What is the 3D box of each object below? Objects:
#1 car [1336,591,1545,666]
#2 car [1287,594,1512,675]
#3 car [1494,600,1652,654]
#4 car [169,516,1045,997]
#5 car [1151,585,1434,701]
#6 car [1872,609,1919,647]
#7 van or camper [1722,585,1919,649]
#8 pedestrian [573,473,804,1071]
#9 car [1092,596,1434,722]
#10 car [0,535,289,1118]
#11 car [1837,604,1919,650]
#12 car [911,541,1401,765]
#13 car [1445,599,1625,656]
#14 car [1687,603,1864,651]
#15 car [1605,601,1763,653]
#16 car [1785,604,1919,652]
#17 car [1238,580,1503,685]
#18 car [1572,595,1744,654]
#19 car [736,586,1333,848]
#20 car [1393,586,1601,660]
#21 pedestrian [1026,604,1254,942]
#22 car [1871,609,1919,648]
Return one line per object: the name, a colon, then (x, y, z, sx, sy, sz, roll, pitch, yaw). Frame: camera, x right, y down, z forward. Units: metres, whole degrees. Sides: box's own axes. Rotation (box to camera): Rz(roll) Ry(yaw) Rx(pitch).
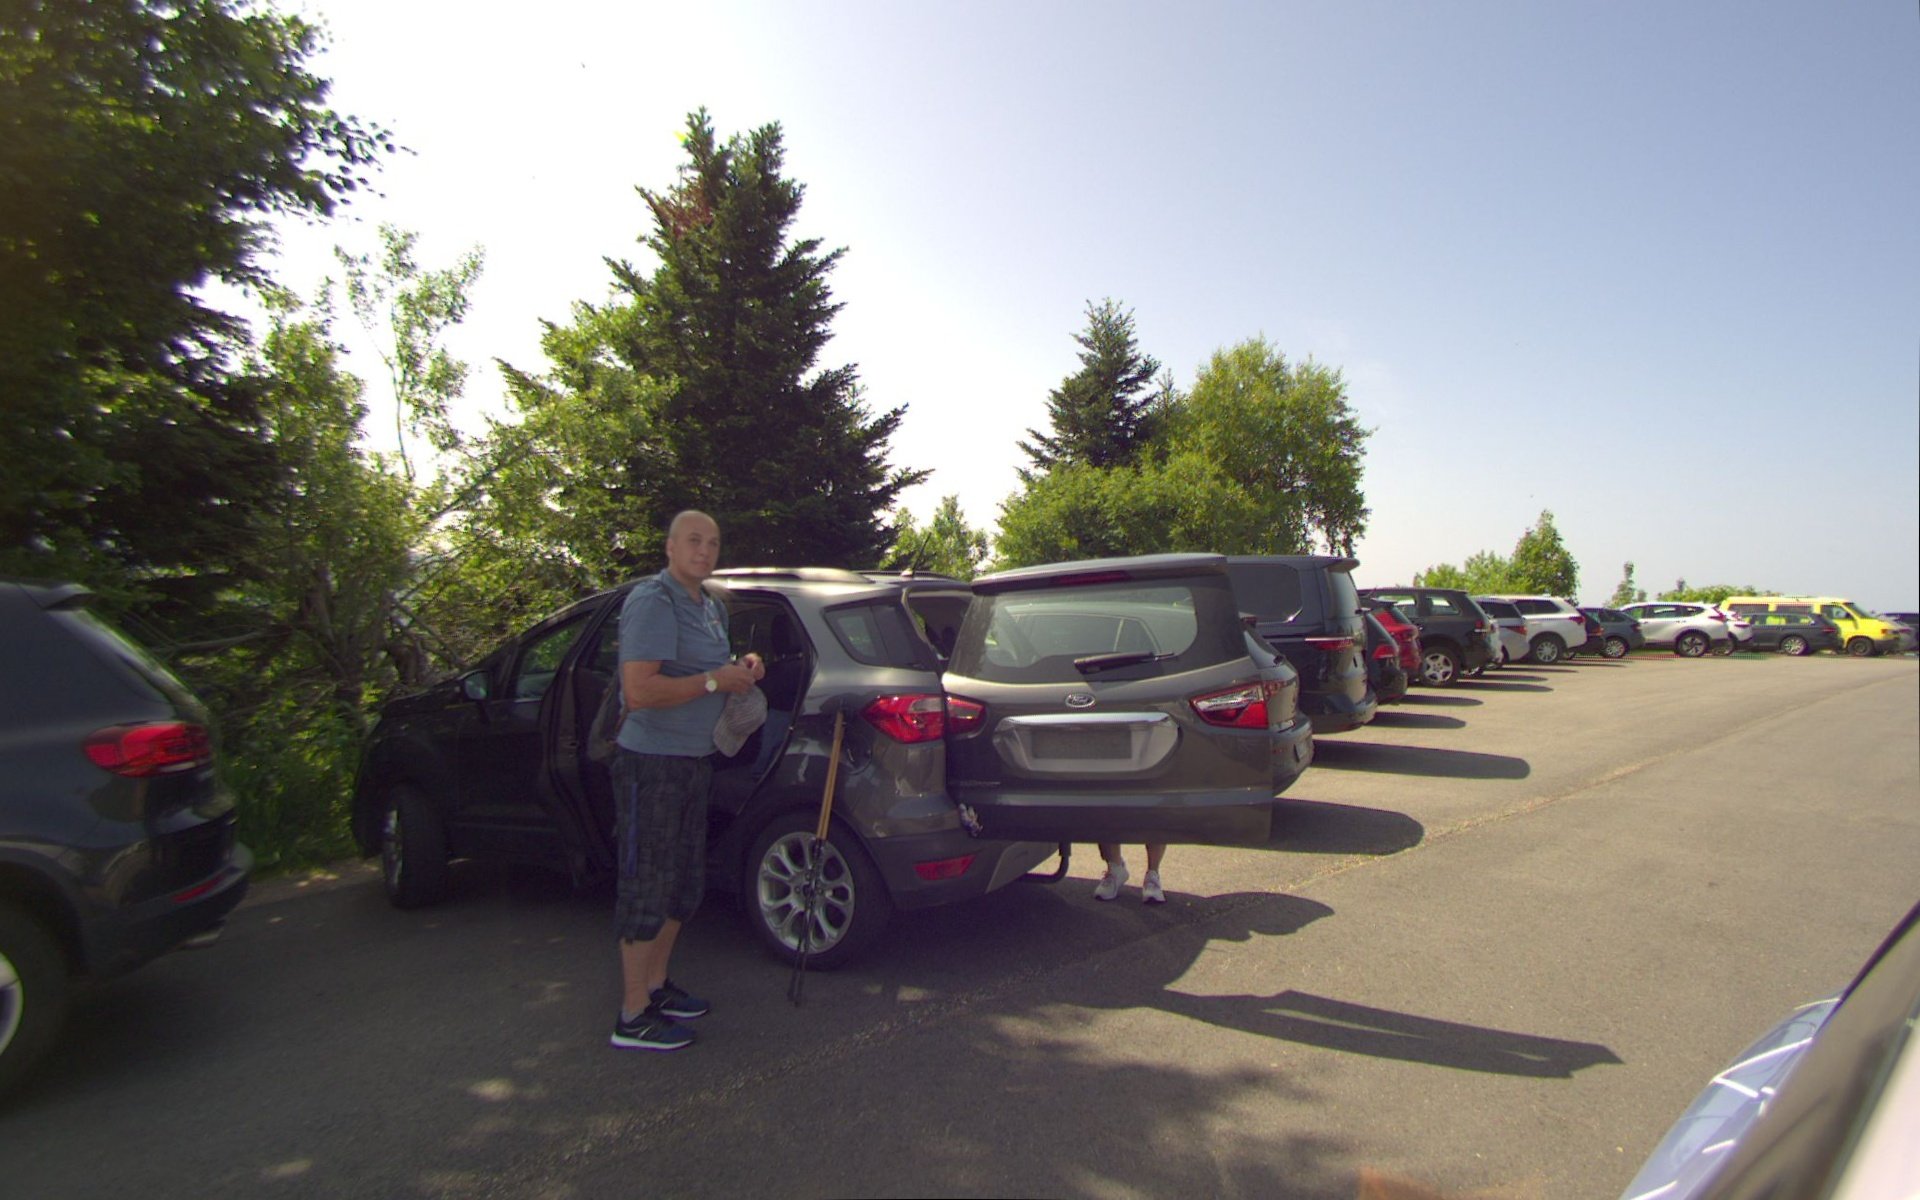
car: (10.569, 0.612, 22.575, 3.945, 1.569, 1.810, 0, -1, 17)
car: (8.716, 0.650, 20.286, 3.956, 1.495, 1.753, 0, 0, 24)
car: (17.682, 0.770, 29.408, 3.770, 1.478, 1.646, 0, -1, 27)
car: (-1.766, 0.639, 5.238, 3.953, 1.683, 1.985, -3, -1, 22)
car: (5.118, 0.623, 15.749, 3.953, 1.610, 1.850, 0, -1, 22)
car: (42.140, 1.243, 43.429, 4.397, 1.588, 1.877, 0, -2, 44)
van or camper: (29.835, 0.612, 35.126, 1.846, 2.040, 5.105, 2, -2, -36)
pedestrian: (-0.935, 0.511, 3.431, 0.620, 1.783, 0.581, 0, -1, -28)
car: (3.811, 0.697, 13.025, 3.948, 1.433, 1.733, 0, -1, 19)
car: (-4.376, 0.691, 2.598, 4.235, 1.653, 1.746, -1, -2, -42)
car: (35.284, 1.018, 37.587, 3.988, 1.634, 1.885, 1, -1, 45)
car: (1.970, 0.473, 10.691, 4.734, 1.904, 1.945, -1, -1, 31)
car: (15.577, 0.730, 27.684, 4.003, 1.480, 1.881, 0, -1, 22)
car: (27.220, 0.893, 33.898, 1.779, 1.507, 4.359, 2, -2, -39)
car: (23.373, 0.824, 32.774, 4.077, 1.519, 1.917, 1, 0, 38)
car: (32.619, 0.991, 36.496, 1.673, 1.609, 4.162, 2, -1, -37)
car: (7.362, 0.555, 18.387, 4.226, 1.716, 1.975, -1, -1, 24)
car: (21.205, 0.729, 30.994, 4.149, 1.671, 1.872, -1, -1, 30)
car: (0.530, 0.675, 7.336, 3.958, 1.461, 1.824, -1, -1, 25)
car: (13.136, 0.535, 25.006, 4.162, 1.716, 1.856, 0, -1, 12)
pedestrian: (0.853, 0.760, 4.876, 0.656, 1.420, 0.776, 3, 1, -34)
car: (39.399, 1.197, 40.729, 3.983, 1.529, 1.815, 2, -1, 41)
